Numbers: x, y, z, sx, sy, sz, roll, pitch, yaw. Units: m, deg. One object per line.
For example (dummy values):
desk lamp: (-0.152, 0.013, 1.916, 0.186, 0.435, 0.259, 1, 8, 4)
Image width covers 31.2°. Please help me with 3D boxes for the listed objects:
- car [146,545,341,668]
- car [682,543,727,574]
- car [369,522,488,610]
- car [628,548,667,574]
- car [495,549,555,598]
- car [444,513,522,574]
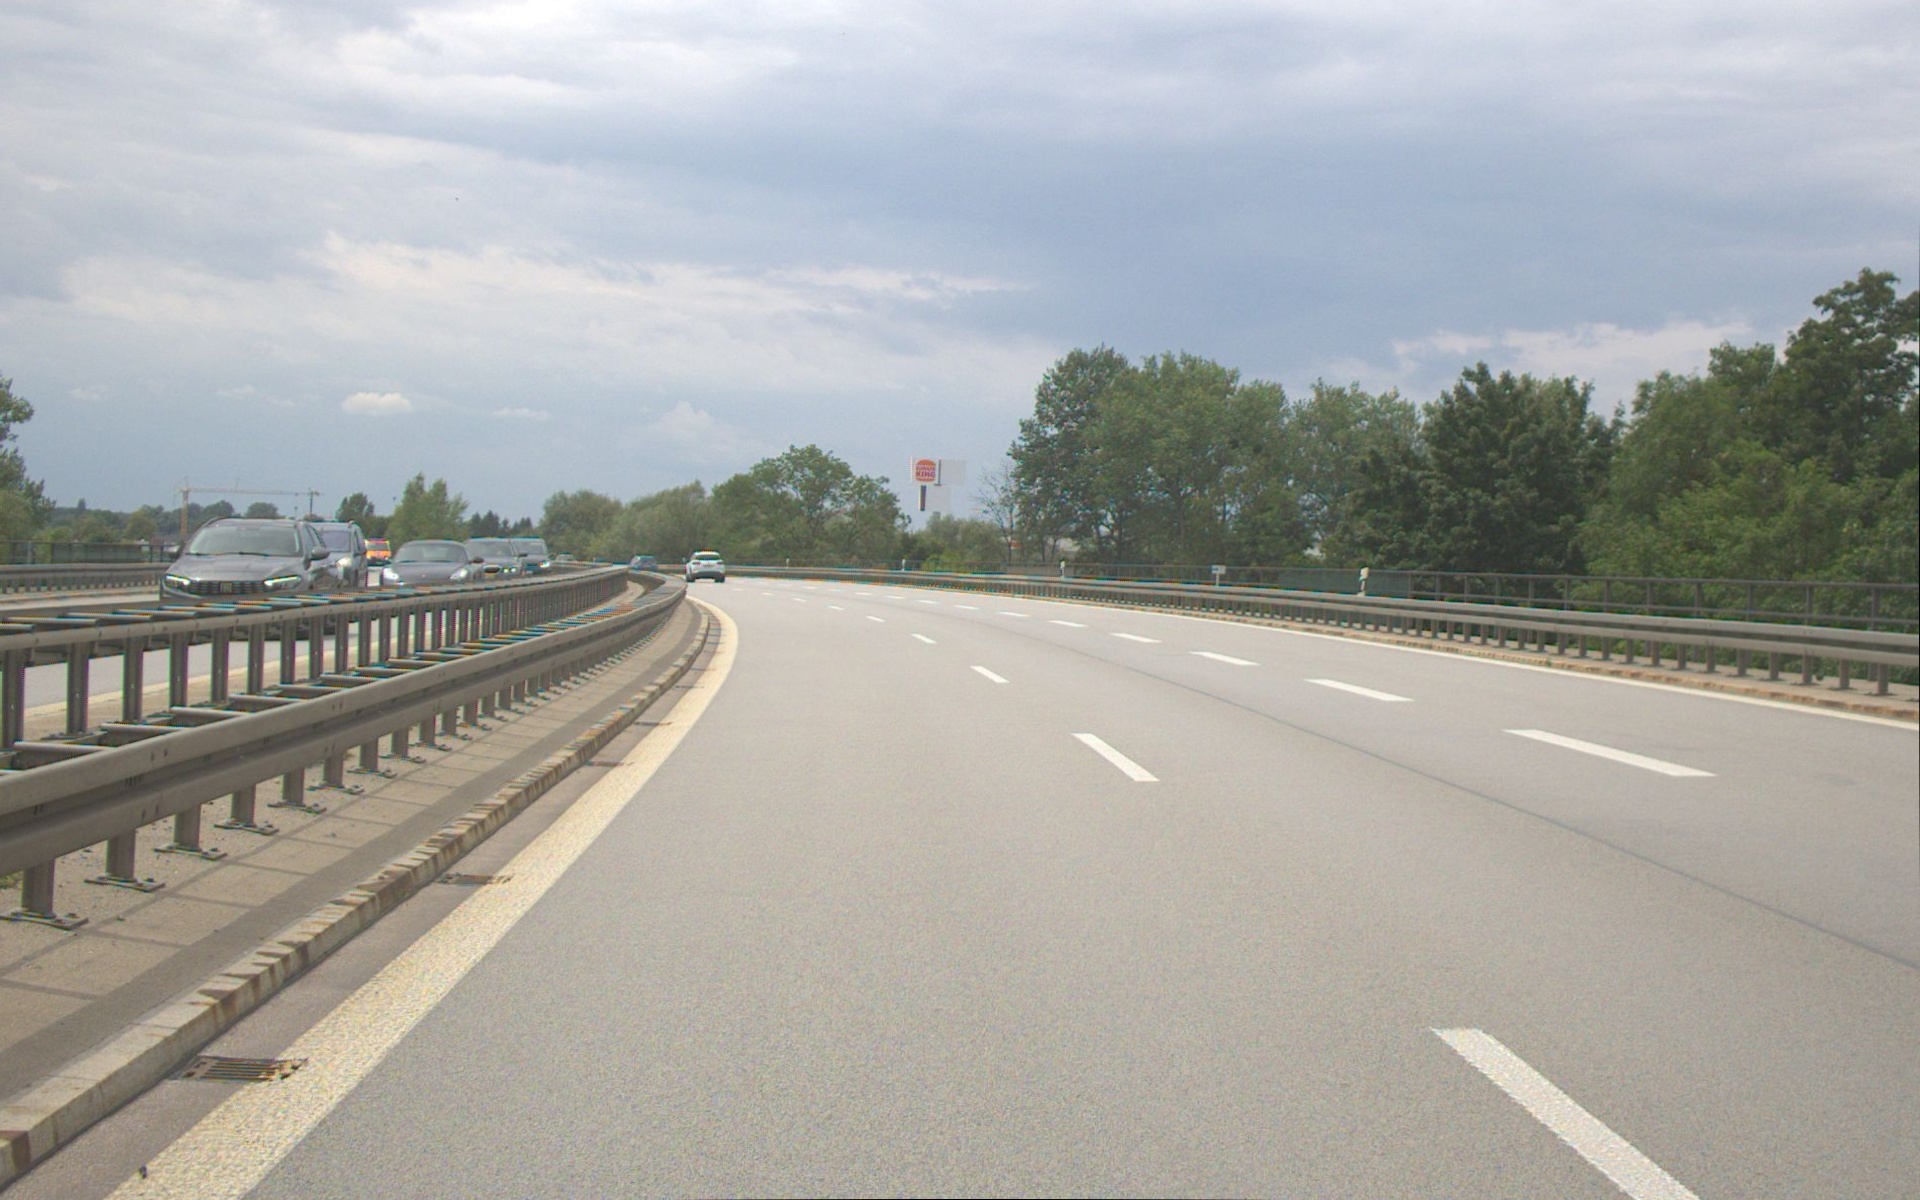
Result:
car: (-8.846, 0.048, 42.703, 1.691, 1.432, 4.111, 1, 1, -2)
car: (-13.916, -2.247, 187.166, 1.902, 1.634, 4.397, 1, 1, -11)
car: (-9.986, -0.648, 64.770, 1.644, 1.544, 4.000, 2, 1, -1)
car: (-20.902, -2.620, 229.681, 1.892, 1.634, 4.623, 1, 1, -13)
car: (-14.948, -0.923, 118.248, 1.644, 1.600, 4.000, 2, 1, -2)
car: (-12.240, -1.435, 88.364, 1.644, 1.544, 4.000, 0, 0, -3)
